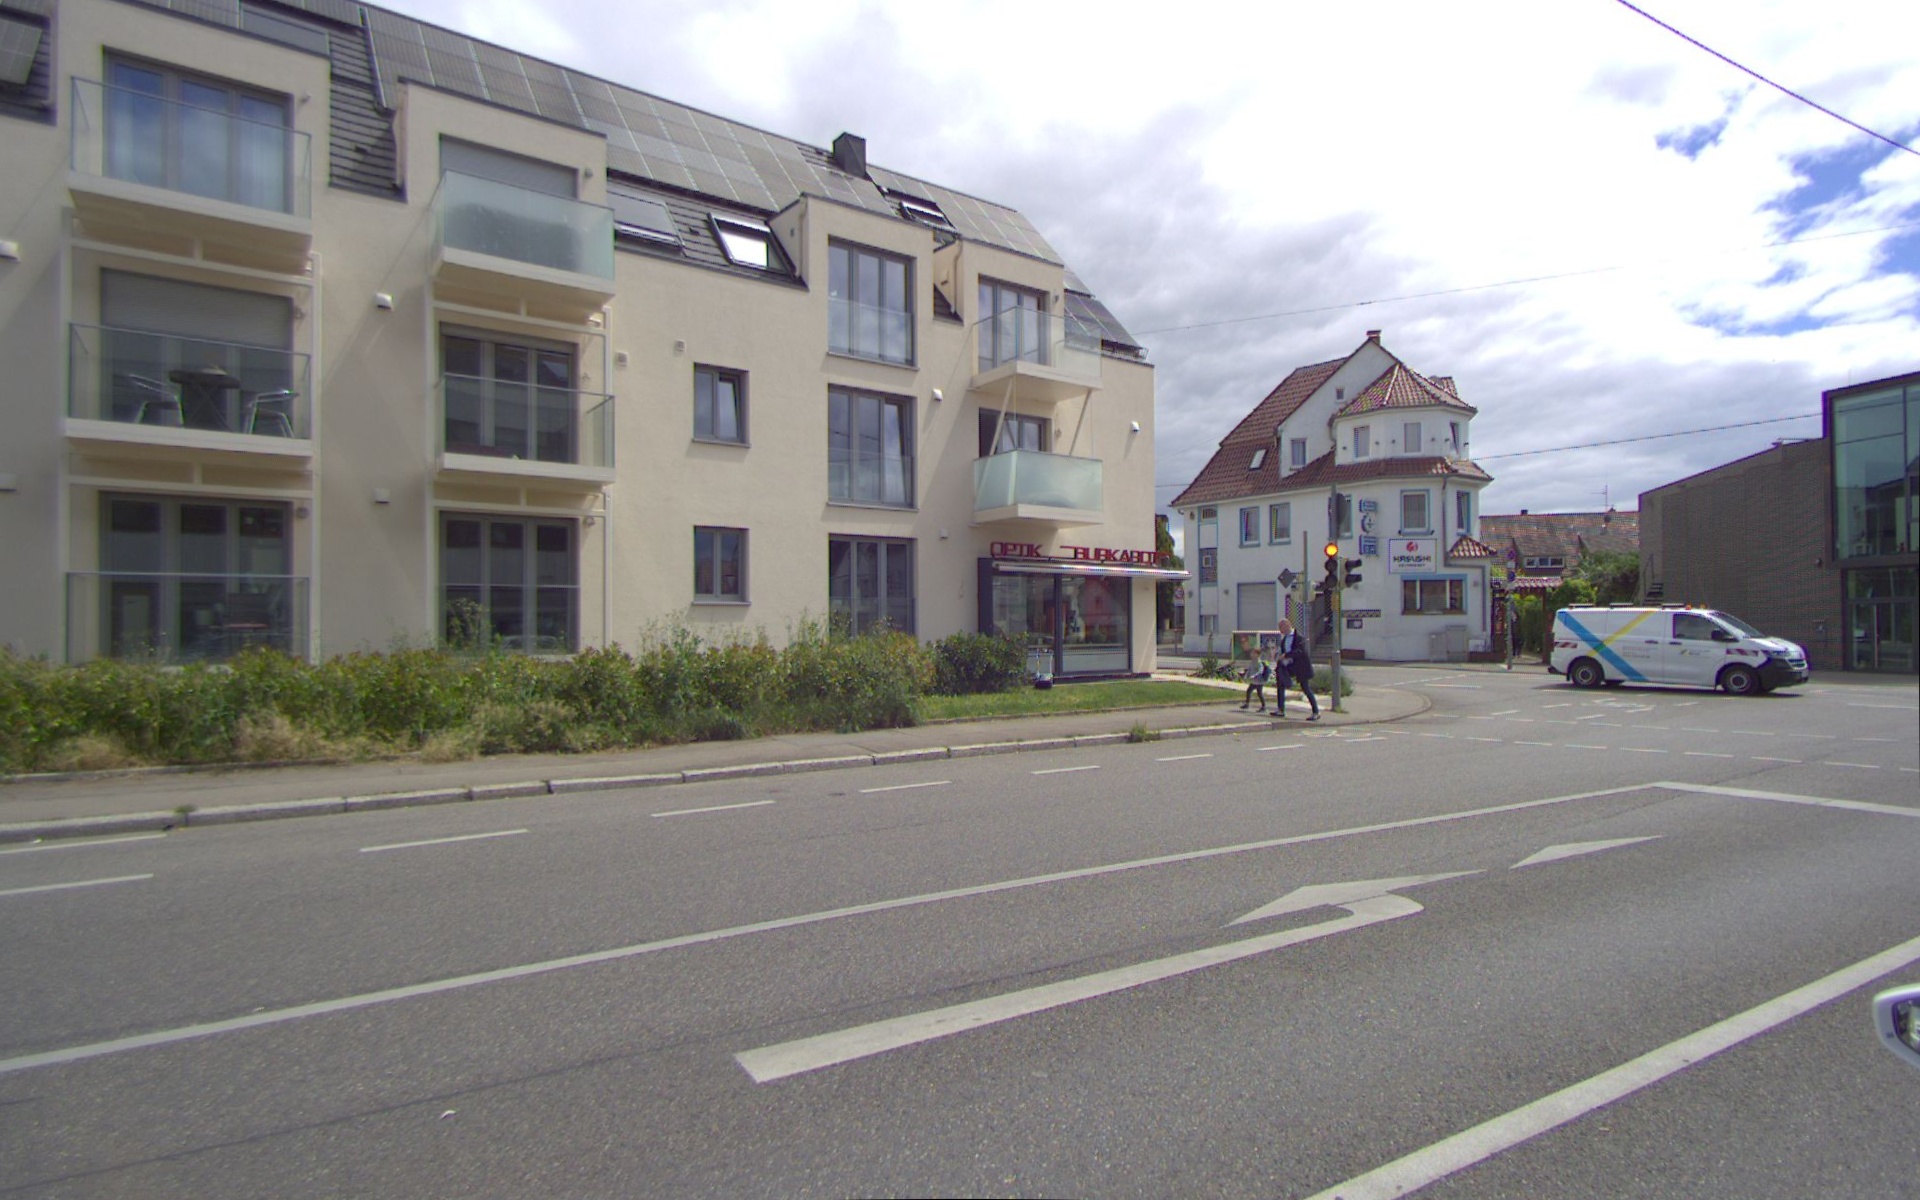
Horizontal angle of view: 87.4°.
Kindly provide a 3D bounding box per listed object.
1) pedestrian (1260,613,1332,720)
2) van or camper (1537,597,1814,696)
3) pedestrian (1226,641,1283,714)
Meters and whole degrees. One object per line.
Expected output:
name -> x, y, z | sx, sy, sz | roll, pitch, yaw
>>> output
pedestrian -> 5.667, 1.093, 16.964 | 0.814, 1.744, 0.811 | 1, -1, -28
van or camper -> 16.978, 1.070, 24.101 | 1.983, 2.104, 5.078 | 1, -2, -38
pedestrian -> 5.147, 1.337, 17.565 | 0.726, 1.238, 0.641 | 1, -1, -26
